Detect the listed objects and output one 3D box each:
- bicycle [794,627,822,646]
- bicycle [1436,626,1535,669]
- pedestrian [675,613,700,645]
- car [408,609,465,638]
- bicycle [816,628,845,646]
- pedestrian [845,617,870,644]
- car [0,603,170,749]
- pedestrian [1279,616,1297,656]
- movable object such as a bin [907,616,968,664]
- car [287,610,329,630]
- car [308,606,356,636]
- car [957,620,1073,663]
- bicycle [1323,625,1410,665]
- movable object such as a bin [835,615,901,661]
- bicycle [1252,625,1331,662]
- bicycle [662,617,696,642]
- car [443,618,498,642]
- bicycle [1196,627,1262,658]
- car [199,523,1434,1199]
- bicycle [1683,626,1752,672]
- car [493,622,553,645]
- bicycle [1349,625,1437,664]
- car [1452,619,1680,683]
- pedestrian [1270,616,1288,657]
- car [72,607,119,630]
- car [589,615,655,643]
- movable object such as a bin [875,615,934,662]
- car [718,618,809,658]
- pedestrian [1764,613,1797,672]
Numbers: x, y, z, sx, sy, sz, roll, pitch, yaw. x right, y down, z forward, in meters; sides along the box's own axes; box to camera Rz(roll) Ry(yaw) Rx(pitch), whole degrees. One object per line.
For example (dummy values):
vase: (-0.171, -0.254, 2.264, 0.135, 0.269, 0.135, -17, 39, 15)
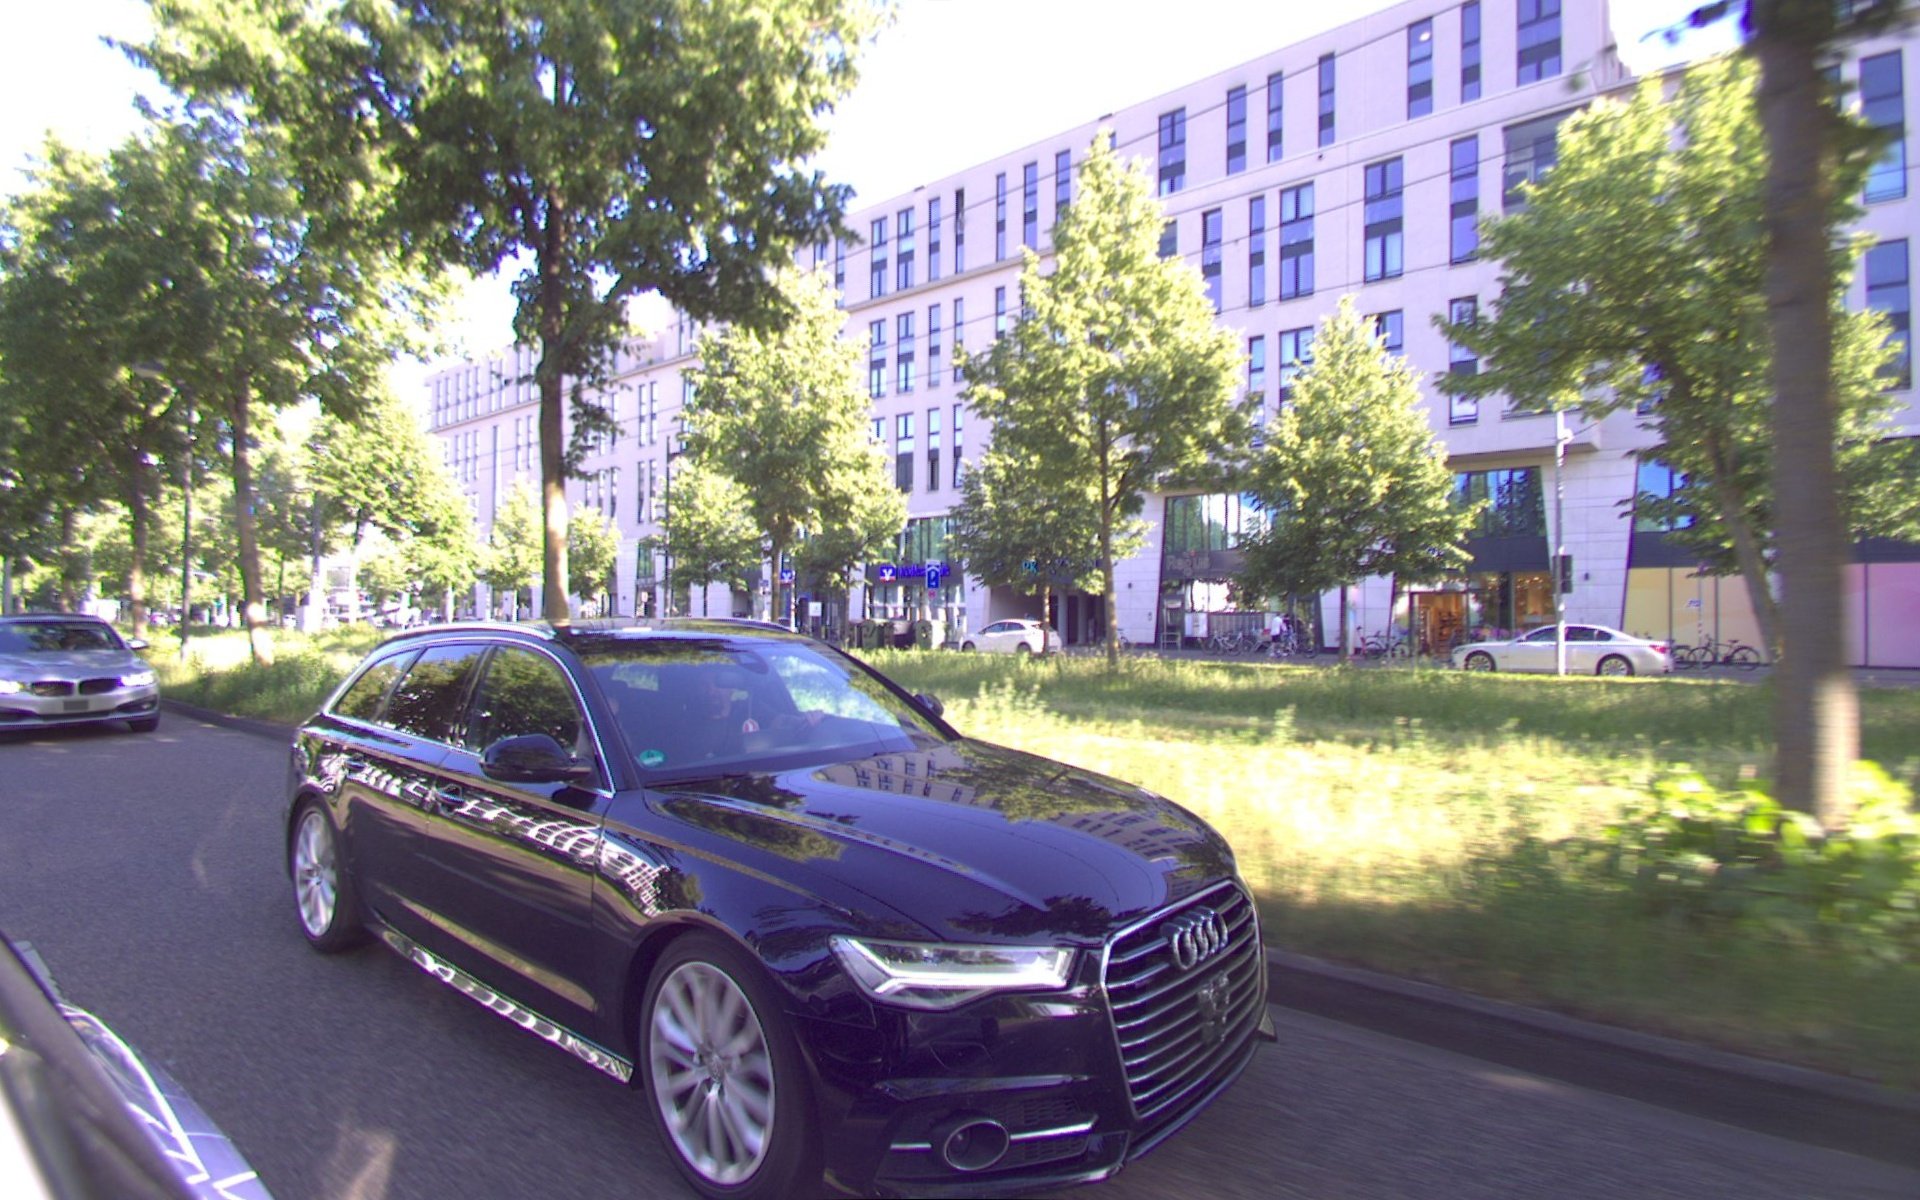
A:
bicycle: (-8.633, 2.043, 57.345, 0.610, 0.996, 1.850, -1, 1, -44)
bicycle: (17.472, 1.551, 33.691, 0.935, 1.290, 2.775, -1, 1, -42)
pedestrian: (-15.390, 1.629, 57.170, 1.222, 1.756, 0.834, 0, 0, 41)
car: (-38.013, 1.686, 73.492, 4.549, 2.029, 1.974, -1, -2, 39)
bicycle: (-7.160, 2.046, 55.940, 1.848, 0.960, 0.573, 0, 1, 43)
pedestrian: (-5.809, 1.726, 57.212, 1.024, 1.479, 0.939, 0, 0, 32)
car: (-11.849, 0.848, 13.063, 4.276, 1.590, 1.862, 0, 1, 42)
pedestrian: (12.904, 1.411, 39.827, 0.494, 1.561, 0.522, -1, 0, -7)
movable object such as a bin: (-0.909, 1.567, 40.675, 1.554, 1.808, 1.951, 0, 0, 39)
car: (-62.108, 1.911, 96.389, 4.416, 1.822, 2.080, 0, 1, 39)
car: (-44.547, 1.475, 71.729, 4.001, 2.029, 1.971, 0, 1, 44)
car: (2.050, 1.528, 38.407, 4.015, 1.452, 1.974, 0, 1, 39)
bicycle: (14.458, 1.585, 36.065, 0.935, 1.290, 2.775, -1, 1, -42)
movable object such as a bin: (-3.909, 1.582, 43.101, 2.008, 1.808, 1.951, 0, 0, 39)
bicycle: (12.614, 1.621, 38.579, 0.935, 1.290, 2.775, -1, 1, -42)
bicycle: (-18.243, 1.889, 65.643, 3.034, 1.557, 0.611, 0, 0, 43)
car: (-33.876, 2.058, 69.998, 3.996, 1.584, 1.974, -1, -1, 39)
bicycle: (10.692, 1.666, 40.253, 2.369, 1.145, 0.859, 0, 0, 32)
car: (-1.102, 0.699, 4.019, 5.079, 1.492, 1.933, -2, -2, 39)
bicycle: (22.554, 1.447, 30.146, 1.607, 1.290, 0.592, 0, 0, 39)
car: (-28.091, 2.142, 64.989, 4.331, 1.424, 1.707, -1, -2, 38)
bicycle: (15.569, 1.568, 36.480, 0.935, 1.290, 2.775, -1, 1, -42)
car: (15.830, 1.267, 26.584, 4.920, 1.452, 1.974, 0, 1, 39)
pedestrian: (12.392, 1.421, 39.304, 0.494, 1.561, 0.522, -1, 0, -7)
car: (-93.852, 1.960, 109.850, 6.015, 2.399, 2.484, 0, 0, 35)
car: (-18.963, 1.614, 56.686, 4.268, 1.491, 1.542, -1, -1, 40)
movable object such as a bin: (-2.284, 1.573, 41.840, 1.554, 1.808, 1.951, 0, 0, 39)
car: (-9.509, 1.807, 48.870, 4.334, 1.742, 1.974, 0, 1, 39)
pedestrian: (23.689, 1.223, 29.234, 0.719, 1.663, 0.629, 0, 0, 39)
